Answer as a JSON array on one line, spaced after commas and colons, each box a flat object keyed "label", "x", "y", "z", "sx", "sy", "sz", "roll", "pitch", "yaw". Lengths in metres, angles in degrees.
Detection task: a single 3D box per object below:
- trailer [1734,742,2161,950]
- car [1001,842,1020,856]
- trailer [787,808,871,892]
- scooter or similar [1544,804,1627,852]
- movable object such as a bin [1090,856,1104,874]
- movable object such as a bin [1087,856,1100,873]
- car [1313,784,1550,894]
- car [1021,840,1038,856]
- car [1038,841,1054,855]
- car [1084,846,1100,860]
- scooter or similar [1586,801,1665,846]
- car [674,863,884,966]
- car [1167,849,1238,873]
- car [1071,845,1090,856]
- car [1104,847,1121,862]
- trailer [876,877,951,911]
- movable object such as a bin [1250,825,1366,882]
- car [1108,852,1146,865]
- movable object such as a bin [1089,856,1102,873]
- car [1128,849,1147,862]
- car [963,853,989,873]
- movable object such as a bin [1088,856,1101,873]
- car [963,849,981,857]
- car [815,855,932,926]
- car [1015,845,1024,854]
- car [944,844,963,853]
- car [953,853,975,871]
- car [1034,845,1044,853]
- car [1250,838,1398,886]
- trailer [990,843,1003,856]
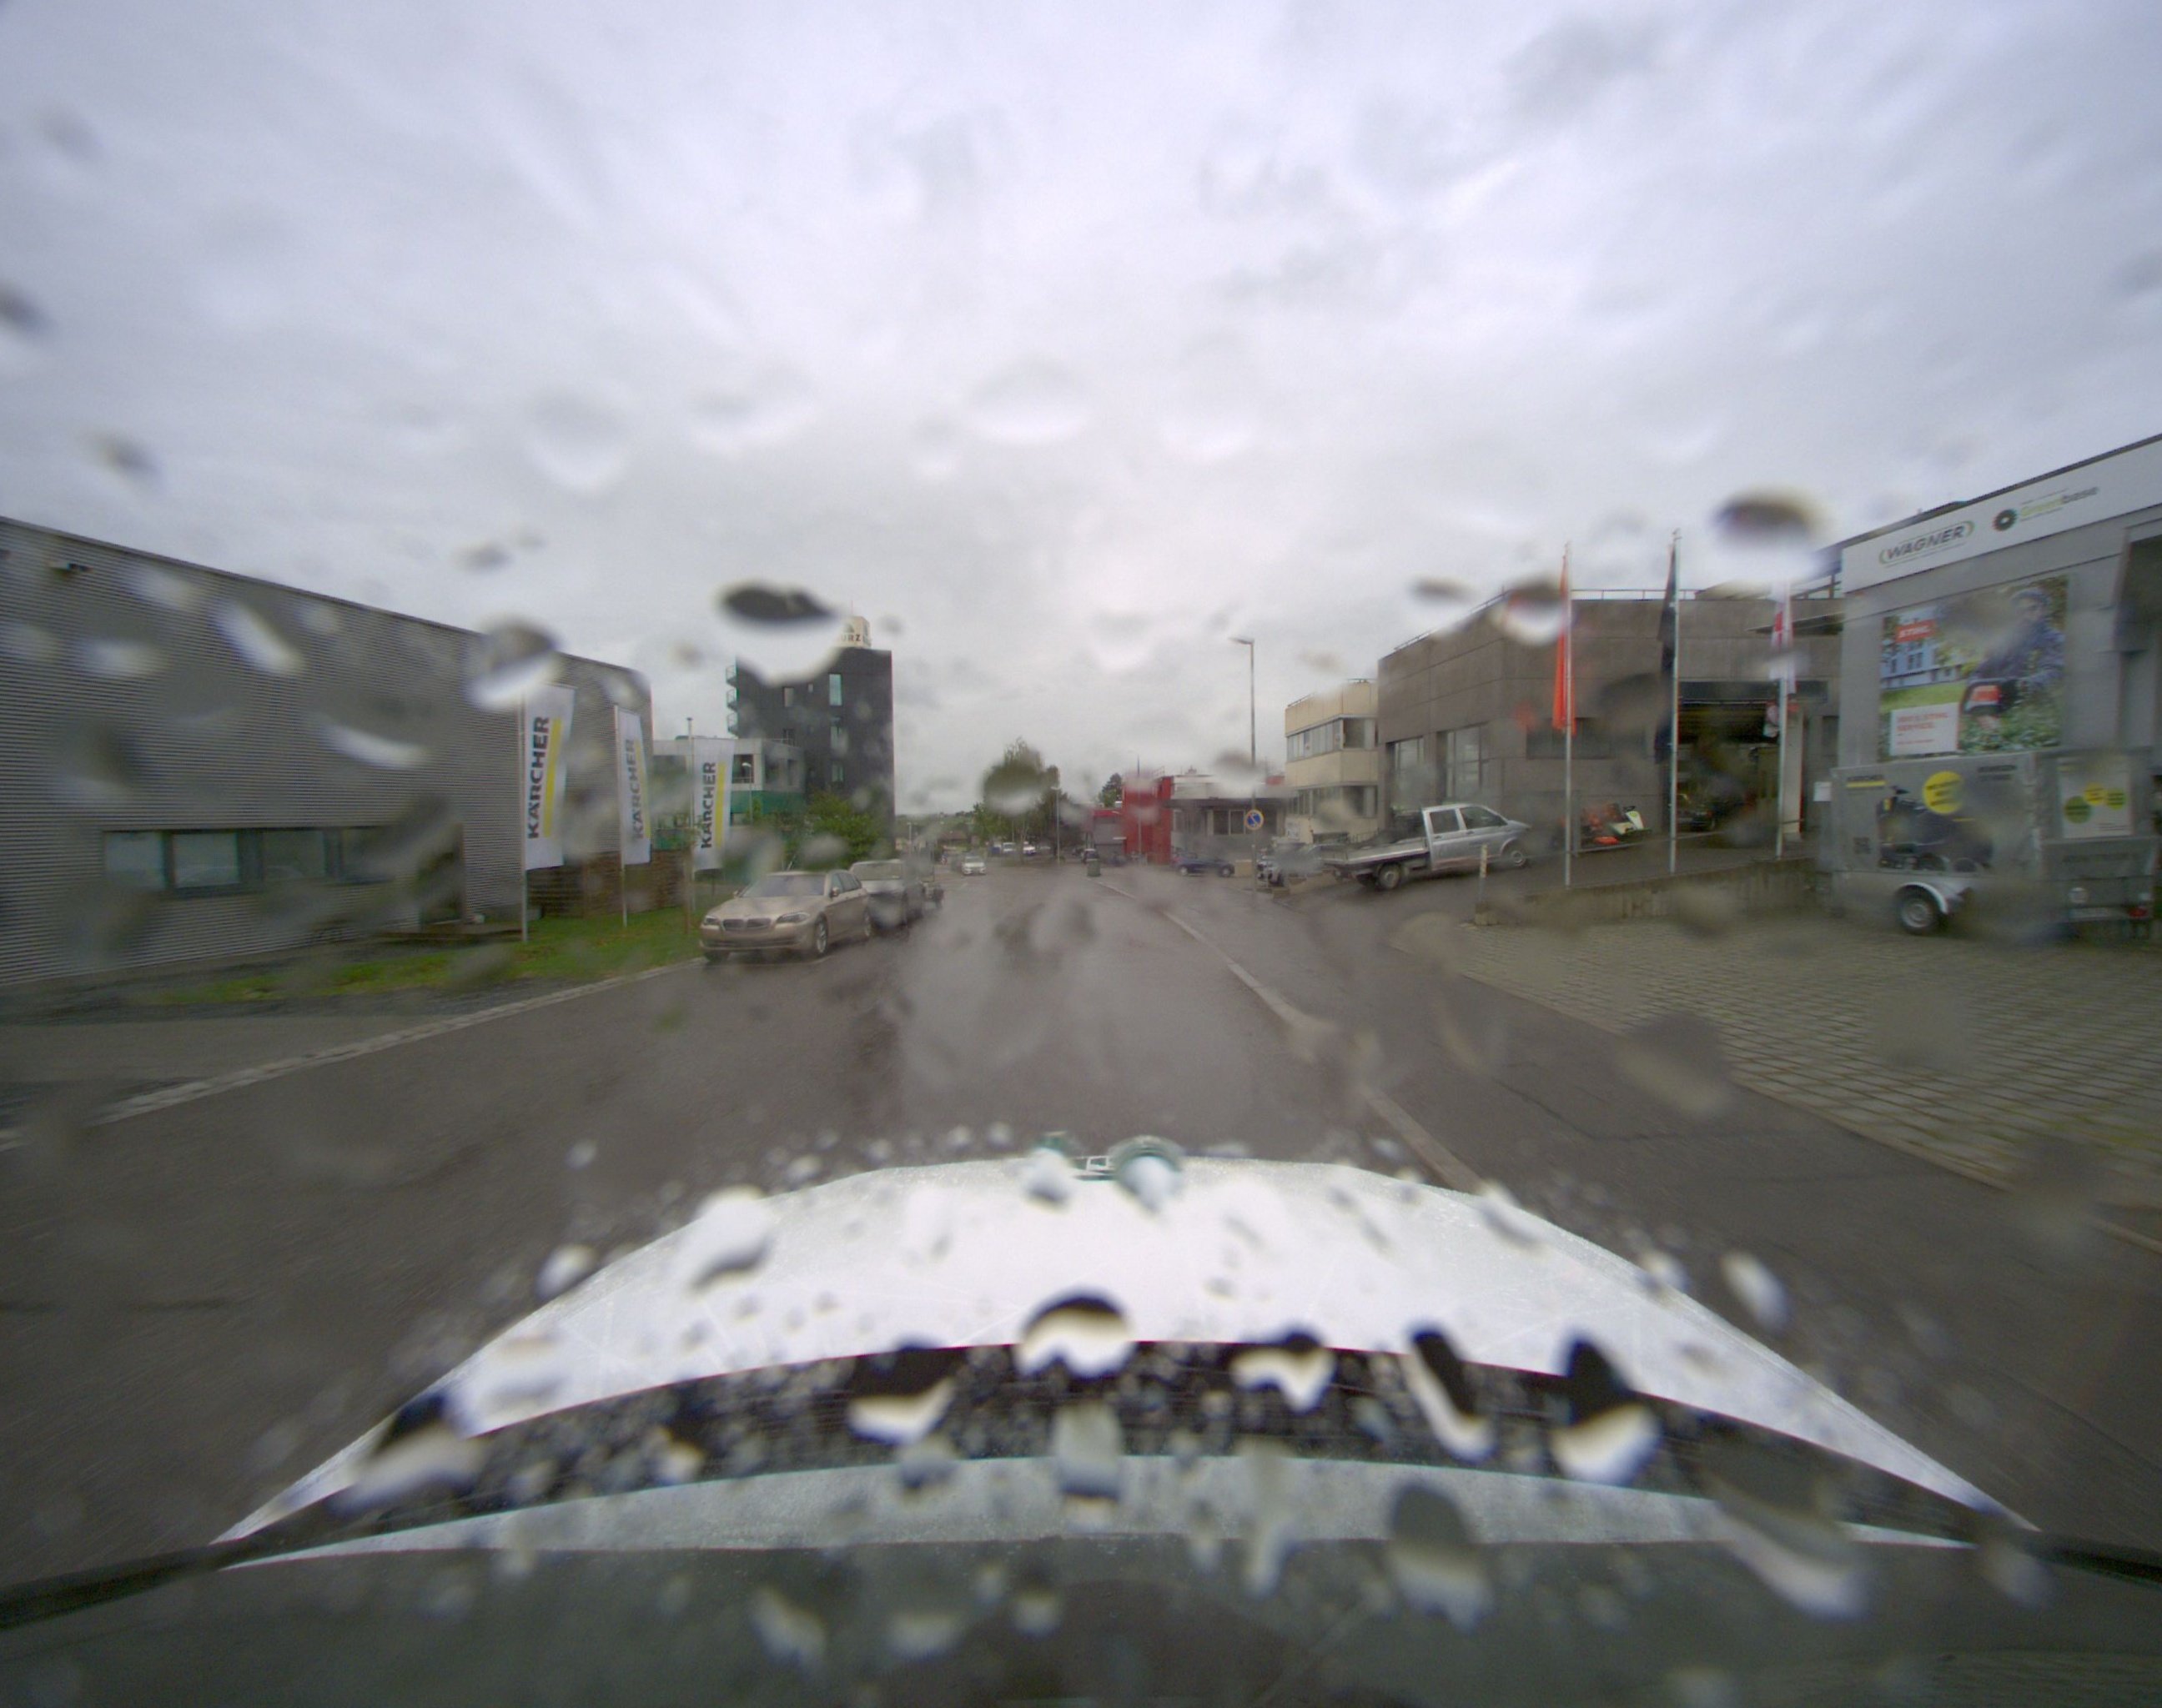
[{"label": "trailer", "x": 12.101, "y": -0.137, "z": 11.775, "sx": 1.880, "sy": 2.416, "sz": 4.308, "roll": -2, "pitch": 1, "yaw": 0}, {"label": "car", "x": -11.015, "y": -0.767, "z": 126.792, "sx": 2.270, "sy": 2.014, "sz": 3.977, "roll": -1, "pitch": -1, "yaw": -17}, {"label": "trailer", "x": -13.313, "y": -0.150, "z": 42.949, "sx": 4.132, "sy": 4.203, "sz": 2.019, "roll": -2, "pitch": 0, "yaw": 37}, {"label": "scooter or similar", "x": 14.438, "y": -0.749, "z": 23.399, "sx": 1.060, "sy": 1.224, "sz": 2.066, "roll": -5, "pitch": 2, "yaw": 2}, {"label": "movable object such as a bin", "x": 1.045, "y": 0.700, "z": 52.255, "sx": 0.805, "sy": 1.092, "sz": 0.708, "roll": -2, "pitch": 0, "yaw": -7}, {"label": "movable object such as a bin", "x": 0.829, "y": 0.707, "z": 54.029, "sx": 0.808, "sy": 1.076, "sz": 0.580, "roll": -2, "pitch": 0, "yaw": -7}, {"label": "car", "x": 9.358, "y": -0.388, "z": 22.097, "sx": 5.285, "sy": 2.013, "sz": 2.220, "roll": -9, "pitch": -1, "yaw": -2}, {"label": "car", "x": -8.027, "y": -0.901, "z": 127.329, "sx": 2.192, "sy": 2.459, "sz": 3.987, "roll": -1, "pitch": -1, "yaw": -9}, {"label": "car", "x": -5.602, "y": -0.906, "z": 128.382, "sx": 2.144, "sy": 2.014, "sz": 3.929, "roll": -2, "pitch": -1, "yaw": -8}, {"label": "car", "x": 1.242, "y": -0.058, "z": 92.702, "sx": 1.692, "sy": 1.475, "sz": 3.997, "roll": -2, "pitch": -1, "yaw": -1}, {"label": "scooter or similar", "x": 15.651, "y": -0.857, "z": 23.483, "sx": 1.000, "sy": 1.155, "sz": 1.846, "roll": -5, "pitch": 0, "yaw": 2}, {"label": "car", "x": -5.209, "y": 0.942, "z": 14.972, "sx": 1.950, "sy": 1.461, "sz": 5.245, "roll": -2, "pitch": 0, "yaw": -1}, {"label": "car", "x": 7.133, "y": 0.422, "z": 48.142, "sx": 3.885, "sy": 1.383, "sz": 1.819, "roll": 0, "pitch": -1, "yaw": -2}, {"label": "car", "x": -0.021, "y": -0.493, "z": 114.771, "sx": 2.545, "sy": 1.352, "sz": 1.239, "roll": -1, "pitch": 0, "yaw": -7}, {"label": "car", "x": 3.612, "y": 0.073, "z": 93.484, "sx": 1.734, "sy": 1.653, "sz": 3.997, "roll": -2, "pitch": -1, "yaw": -1}, {"label": "trailer", "x": -5.205, "y": 1.229, "z": 25.727, "sx": 1.676, "sy": 0.888, "sz": 3.894, "roll": -2, "pitch": -1, "yaw": -2}, {"label": "movable object such as a bin", "x": 9.208, "y": -0.018, "z": 33.227, "sx": 4.241, "sy": 2.110, "sz": 1.476, "roll": -2, "pitch": 0, "yaw": -1}, {"label": "car", "x": 4.185, "y": 0.407, "z": 74.963, "sx": 3.389, "sy": 1.163, "sz": 1.792, "roll": -1, "pitch": 0, "yaw": 0}, {"label": "movable object such as a bin", "x": 0.935, "y": 0.705, "z": 52.899, "sx": 0.774, "sy": 1.076, "sz": 0.582, "roll": -2, "pitch": 0, "yaw": -7}, {"label": "car", "x": 6.388, "y": 0.158, "z": 92.539, "sx": 1.724, "sy": 1.422, "sz": 3.997, "roll": -2, "pitch": -1, "yaw": -1}, {"label": "car", "x": -8.989, "y": 0.775, "z": 69.232, "sx": 1.772, "sy": 1.513, "sz": 4.127, "roll": -2, "pitch": -1, "yaw": -13}, {"label": "movable object such as a bin", "x": 0.889, "y": 0.703, "z": 53.471, "sx": 0.808, "sy": 1.090, "sz": 0.540, "roll": -2, "pitch": 0, "yaw": -7}, {"label": "car", "x": -22.950, "y": -0.140, "z": 171.813, "sx": 2.475, "sy": 1.539, "sz": 3.963, "roll": -1, "pitch": -1, "yaw": -28}, {"label": "car", "x": -5.253, "y": 0.870, "z": 21.349, "sx": 1.952, "sy": 1.577, "sz": 4.835, "roll": -2, "pitch": -1, "yaw": -2}, {"label": "car", "x": -9.984, "y": -0.741, "z": 132.858, "sx": 1.289, "sy": 1.424, "sz": 2.539, "roll": -2, "pitch": -1, "yaw": -8}, {"label": "car", "x": -32.120, "y": -1.385, "z": 205.478, "sx": 4.221, "sy": 2.226, "sz": 2.002, "roll": -2, "pitch": -1, "yaw": 4}, {"label": "car", "x": -11.534, "y": 0.753, "z": 79.918, "sx": 1.703, "sy": 1.609, "sz": 3.981, "roll": -3, "pitch": 1, "yaw": -14}, {"label": "car", "x": -6.861, "y": -0.788, "z": 133.964, "sx": 1.397, "sy": 1.326, "sz": 2.694, "roll": -2, "pitch": -1, "yaw": -8}, {"label": "car", "x": 9.271, "y": 0.291, "z": 31.334, "sx": 5.078, "sy": 1.613, "sz": 1.924, "roll": -2, "pitch": 1, "yaw": -2}, {"label": "trailer", "x": -13.575, "y": -0.704, "z": 130.711, "sx": 1.852, "sy": 2.013, "sz": 3.988, "roll": -1, "pitch": 0, "yaw": -9}]
